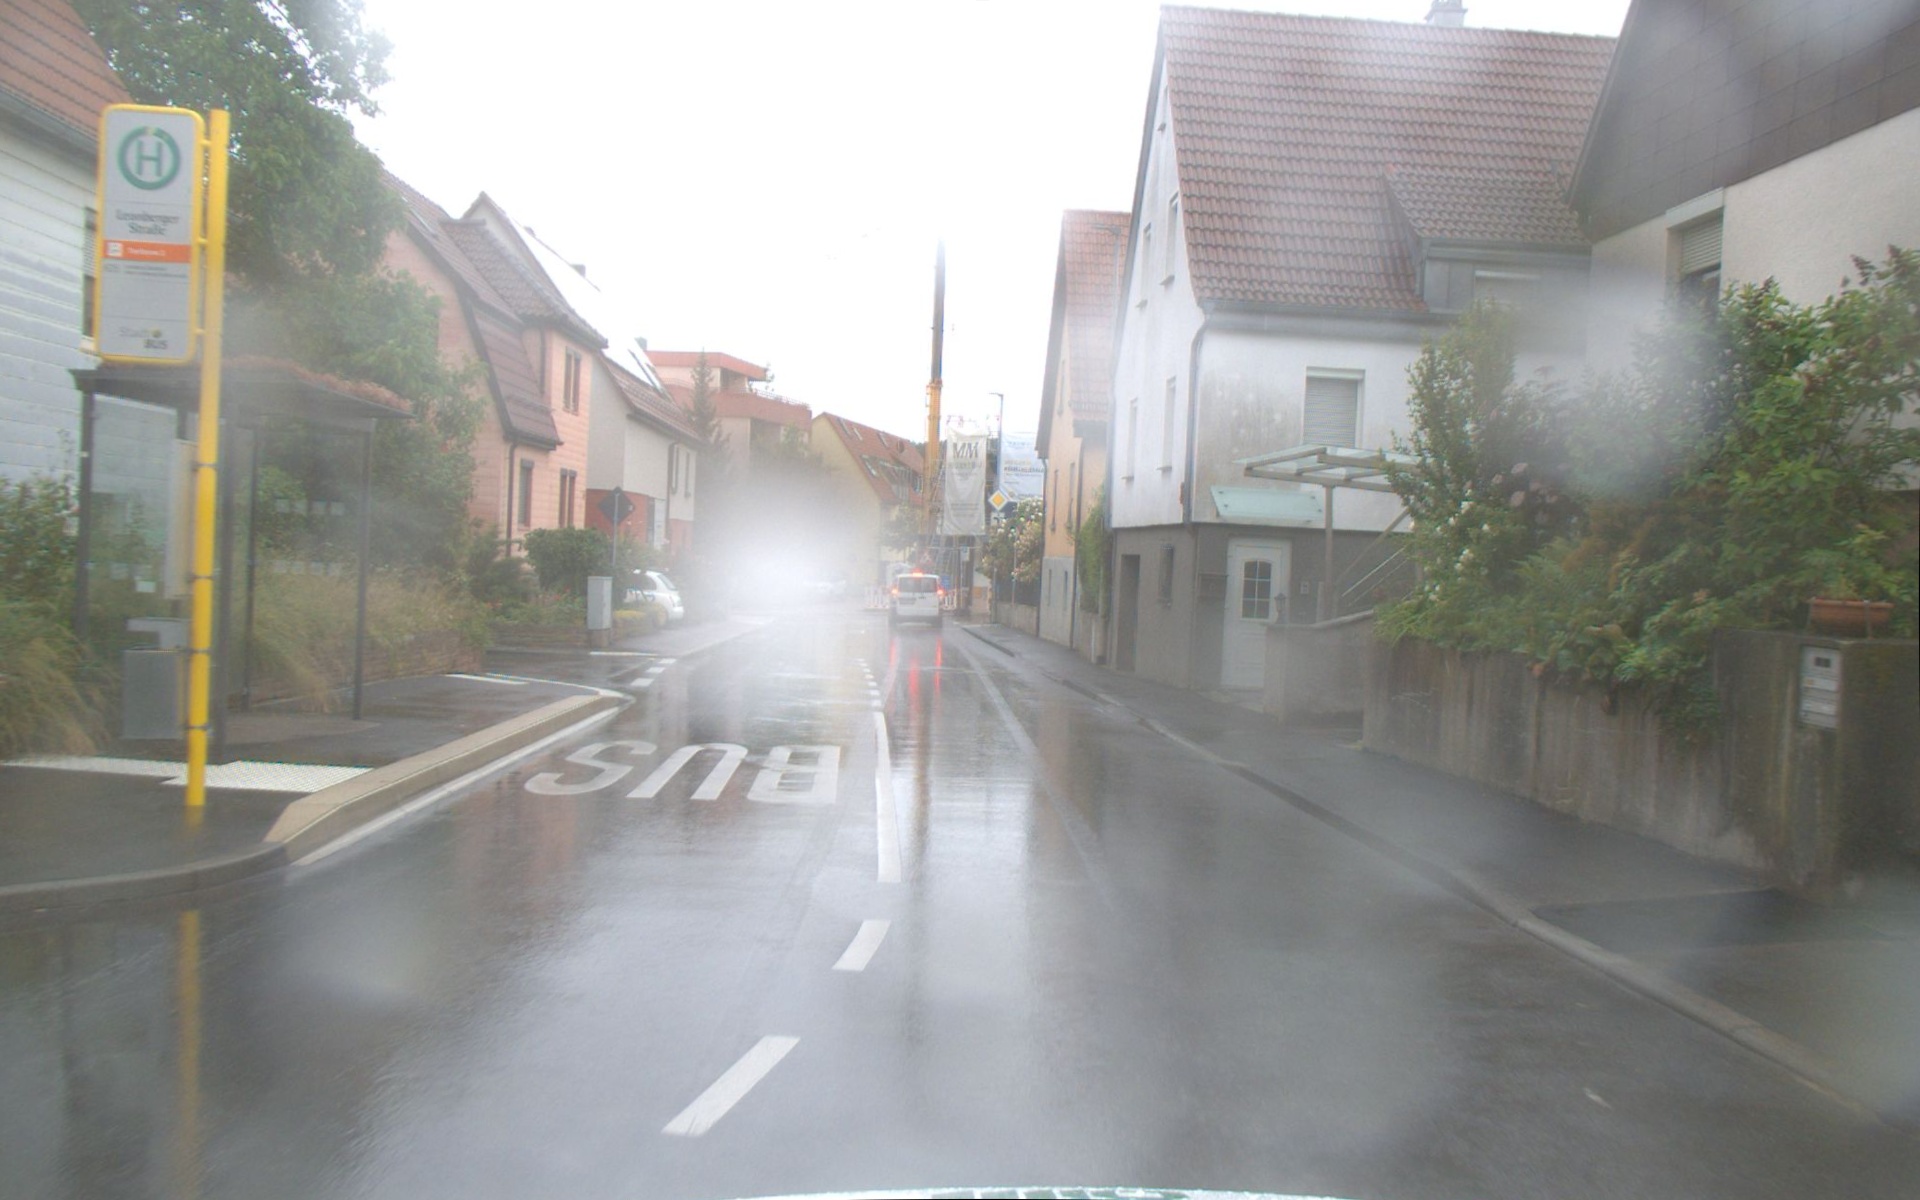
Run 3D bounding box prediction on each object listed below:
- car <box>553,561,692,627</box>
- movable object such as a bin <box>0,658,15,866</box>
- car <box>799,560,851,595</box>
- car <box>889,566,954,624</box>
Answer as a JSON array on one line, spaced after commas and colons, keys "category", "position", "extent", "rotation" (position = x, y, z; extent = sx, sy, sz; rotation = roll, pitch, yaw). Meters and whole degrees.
[{"category": "car", "position": [-9.404, -0.160, 46.317], "extent": [3.474, 1.555, 1.663], "rotation": [4, 0, -2]}, {"category": "movable object such as a bin", "position": [-4.151, 0.707, 6.578], "extent": [0.459, 0.955, 0.454], "rotation": [6, 2, -1]}, {"category": "car", "position": [-7.114, -1.217, 87.335], "extent": [1.566, 1.706, 3.942], "rotation": [3, 2, 12]}, {"category": "car", "position": [-1.386, -0.184, 58.404], "extent": [2.138, 1.902, 3.998], "rotation": [2, 0, -3]}]
